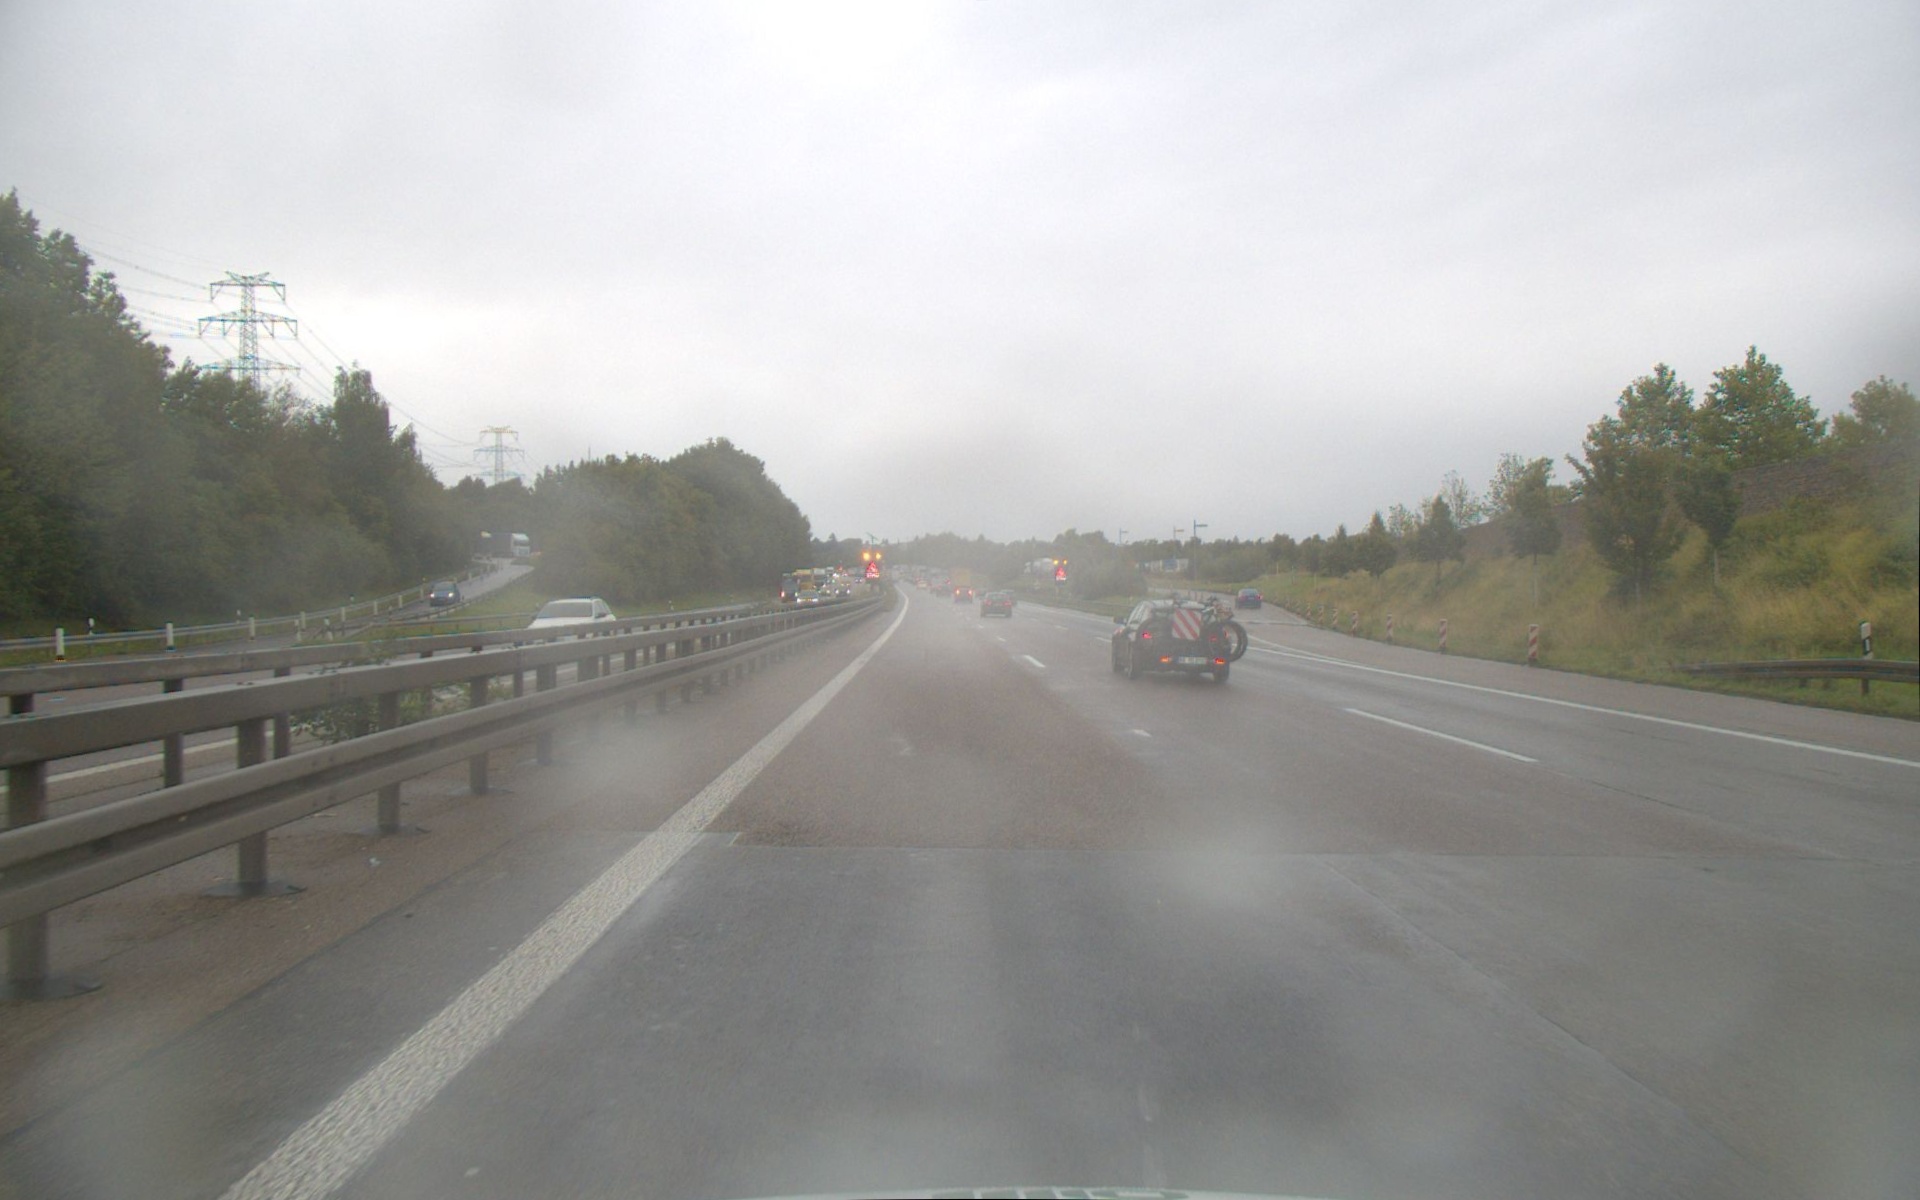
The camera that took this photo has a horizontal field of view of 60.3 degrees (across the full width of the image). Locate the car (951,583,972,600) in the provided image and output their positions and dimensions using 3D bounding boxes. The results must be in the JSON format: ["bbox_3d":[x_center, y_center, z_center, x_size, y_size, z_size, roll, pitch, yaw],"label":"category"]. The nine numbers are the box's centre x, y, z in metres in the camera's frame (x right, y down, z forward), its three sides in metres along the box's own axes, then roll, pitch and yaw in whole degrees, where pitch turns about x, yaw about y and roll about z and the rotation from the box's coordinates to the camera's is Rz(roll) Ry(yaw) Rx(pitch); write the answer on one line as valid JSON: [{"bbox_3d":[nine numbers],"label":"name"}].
[{"bbox_3d":[0.181,-0.861,166.955,1.953,1.657,3.998,-1,1,-2],"label":"car"}]

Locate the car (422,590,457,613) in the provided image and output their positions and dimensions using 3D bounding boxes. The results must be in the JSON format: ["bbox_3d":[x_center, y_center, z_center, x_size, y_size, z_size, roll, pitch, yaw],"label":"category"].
[{"bbox_3d":[-37.679,0.078,119.831,1.933,1.570,3.989,-1,1,-11],"label":"car"}]

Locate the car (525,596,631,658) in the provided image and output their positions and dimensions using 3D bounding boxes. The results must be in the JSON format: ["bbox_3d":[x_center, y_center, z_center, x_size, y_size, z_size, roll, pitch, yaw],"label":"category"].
[{"bbox_3d":[-10.048,0.664,43.807,1.721,1.487,4.761,-2,0,-1],"label":"car"}]

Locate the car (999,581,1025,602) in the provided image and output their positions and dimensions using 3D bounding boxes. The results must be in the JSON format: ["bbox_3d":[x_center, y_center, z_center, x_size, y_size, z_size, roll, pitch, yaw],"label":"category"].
[{"bbox_3d":[4.784,-0.780,152.873,1.954,1.791,3.998,4,1,-2],"label":"car"}]

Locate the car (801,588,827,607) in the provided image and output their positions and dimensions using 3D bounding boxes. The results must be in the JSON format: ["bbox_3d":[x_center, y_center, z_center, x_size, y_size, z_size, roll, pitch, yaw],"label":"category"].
[{"bbox_3d":[-11.785,-0.216,133.773,1.785,1.538,4.789,-1,0,-1],"label":"car"}]

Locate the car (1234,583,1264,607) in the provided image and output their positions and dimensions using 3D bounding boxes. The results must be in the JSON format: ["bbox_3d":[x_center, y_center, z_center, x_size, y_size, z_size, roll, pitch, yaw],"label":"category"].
[{"bbox_3d":[22.425,-0.404,128.537,1.882,1.739,4.002,-1,0,4],"label":"car"}]

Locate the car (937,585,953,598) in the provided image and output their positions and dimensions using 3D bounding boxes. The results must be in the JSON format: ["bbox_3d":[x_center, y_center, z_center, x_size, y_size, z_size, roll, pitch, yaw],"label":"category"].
[{"bbox_3d":[-1.963,-1.125,219.482,1.953,1.657,3.998,-1,1,-2],"label":"car"}]

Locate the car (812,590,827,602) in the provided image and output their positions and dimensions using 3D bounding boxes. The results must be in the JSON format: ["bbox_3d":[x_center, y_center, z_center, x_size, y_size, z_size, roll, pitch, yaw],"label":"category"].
[{"bbox_3d":[-20.230,-0.646,238.077,1.837,1.631,4.513,-2,1,-2],"label":"car"}]

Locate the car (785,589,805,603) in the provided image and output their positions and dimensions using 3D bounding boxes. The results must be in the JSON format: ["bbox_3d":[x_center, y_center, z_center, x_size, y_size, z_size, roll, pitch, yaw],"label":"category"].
[{"bbox_3d":[-18.379,-0.435,184.013,1.837,1.519,4.513,-2,1,-2],"label":"car"}]

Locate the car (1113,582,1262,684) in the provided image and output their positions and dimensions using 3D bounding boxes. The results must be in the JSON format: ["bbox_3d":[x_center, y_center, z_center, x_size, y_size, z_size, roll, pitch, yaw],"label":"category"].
[{"bbox_3d":[4.124,0.577,30.893,2.015,1.700,5.521,1,0,0],"label":"car"}]

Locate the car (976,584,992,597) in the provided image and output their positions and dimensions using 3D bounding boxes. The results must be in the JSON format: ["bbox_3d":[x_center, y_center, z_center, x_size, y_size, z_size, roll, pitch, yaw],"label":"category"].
[{"bbox_3d":[3.257,-1.328,223.562,1.953,1.657,3.998,-1,1,-2],"label":"car"}]

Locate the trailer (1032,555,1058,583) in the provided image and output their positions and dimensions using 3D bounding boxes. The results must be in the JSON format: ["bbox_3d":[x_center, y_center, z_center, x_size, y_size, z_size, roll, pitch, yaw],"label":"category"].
[{"bbox_3d":[13.613,-4.946,264.356,2.925,4.228,12.951,-1,1,-2],"label":"trailer"}]

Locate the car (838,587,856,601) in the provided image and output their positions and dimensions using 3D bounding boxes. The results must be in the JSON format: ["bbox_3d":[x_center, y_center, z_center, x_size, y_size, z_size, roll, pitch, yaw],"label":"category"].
[{"bbox_3d":[-14.039,-0.752,205.464,1.885,1.685,4.789,-1,0,-1],"label":"car"}]

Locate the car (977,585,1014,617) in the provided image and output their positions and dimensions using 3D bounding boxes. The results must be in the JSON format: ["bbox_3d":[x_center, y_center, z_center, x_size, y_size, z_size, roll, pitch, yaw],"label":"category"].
[{"bbox_3d":[2.081,0.047,98.689,1.953,1.791,3.998,-1,1,-2],"label":"car"}]
